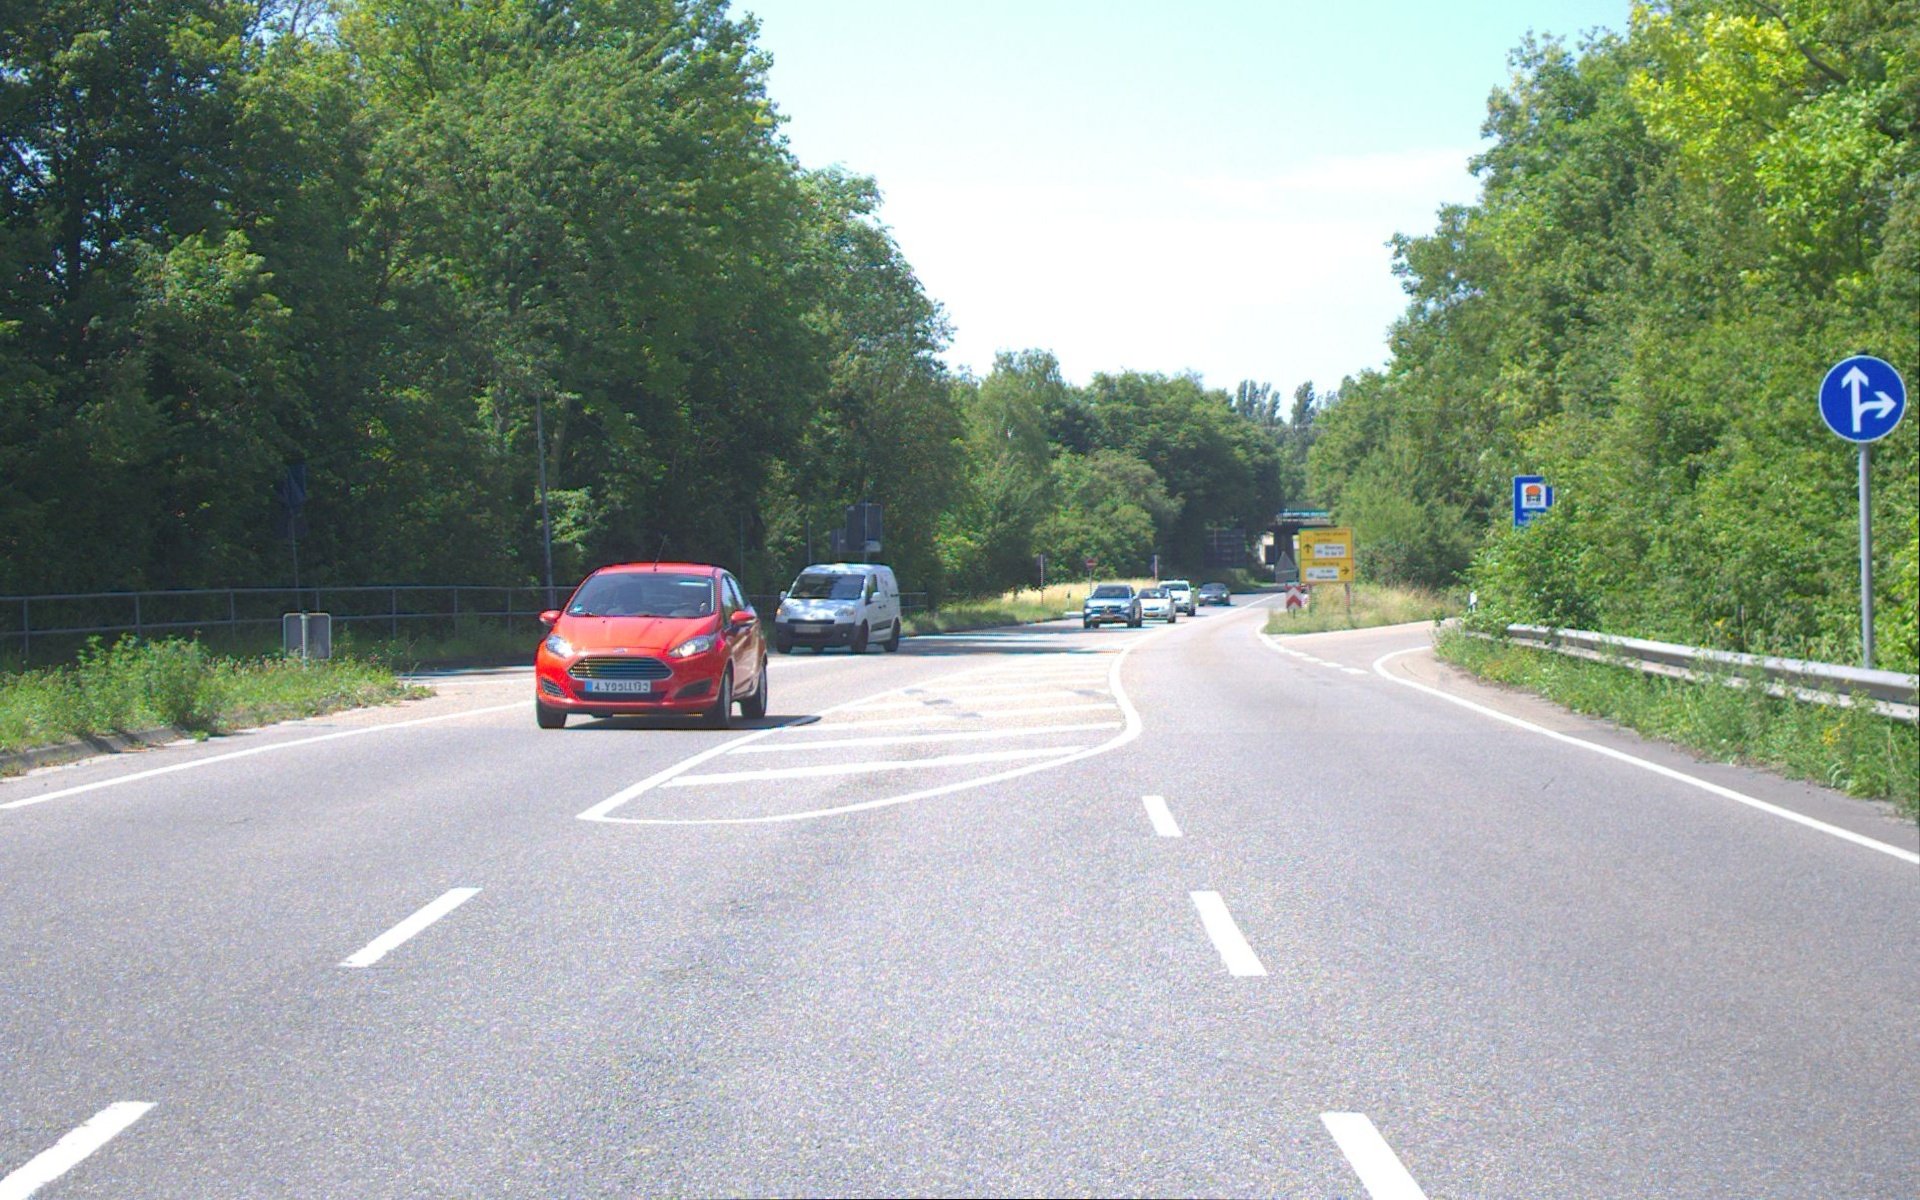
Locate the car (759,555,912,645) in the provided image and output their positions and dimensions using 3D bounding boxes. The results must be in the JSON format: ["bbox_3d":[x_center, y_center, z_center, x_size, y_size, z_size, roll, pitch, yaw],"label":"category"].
[{"bbox_3d":[-2.449,-0.026,68.995,1.995,1.724,4.272,0,1,13],"label":"car"}]

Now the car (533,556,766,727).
[{"bbox_3d":[-2.759,0.332,31.262,1.810,1.453,3.758,0,1,-1],"label":"car"}]

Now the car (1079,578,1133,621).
[{"bbox_3d":[5.517,-0.030,129.709,1.678,1.522,3.999,0,1,7],"label":"car"}]

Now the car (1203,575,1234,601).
[{"bbox_3d":[15.514,-0.710,206.084,1.720,1.504,3.709,0,1,6],"label":"car"}]

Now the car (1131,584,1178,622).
[{"bbox_3d":[8.206,0.118,144.919,1.678,1.522,3.999,0,1,8],"label":"car"}]

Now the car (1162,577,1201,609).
[{"bbox_3d":[10.873,-0.361,168.563,1.720,1.523,3.709,0,1,6],"label":"car"}]

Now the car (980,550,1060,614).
[{"bbox_3d":[3.104,-0.949,178.105,1.993,3.215,4.809,-1,1,-28],"label":"car"}]
